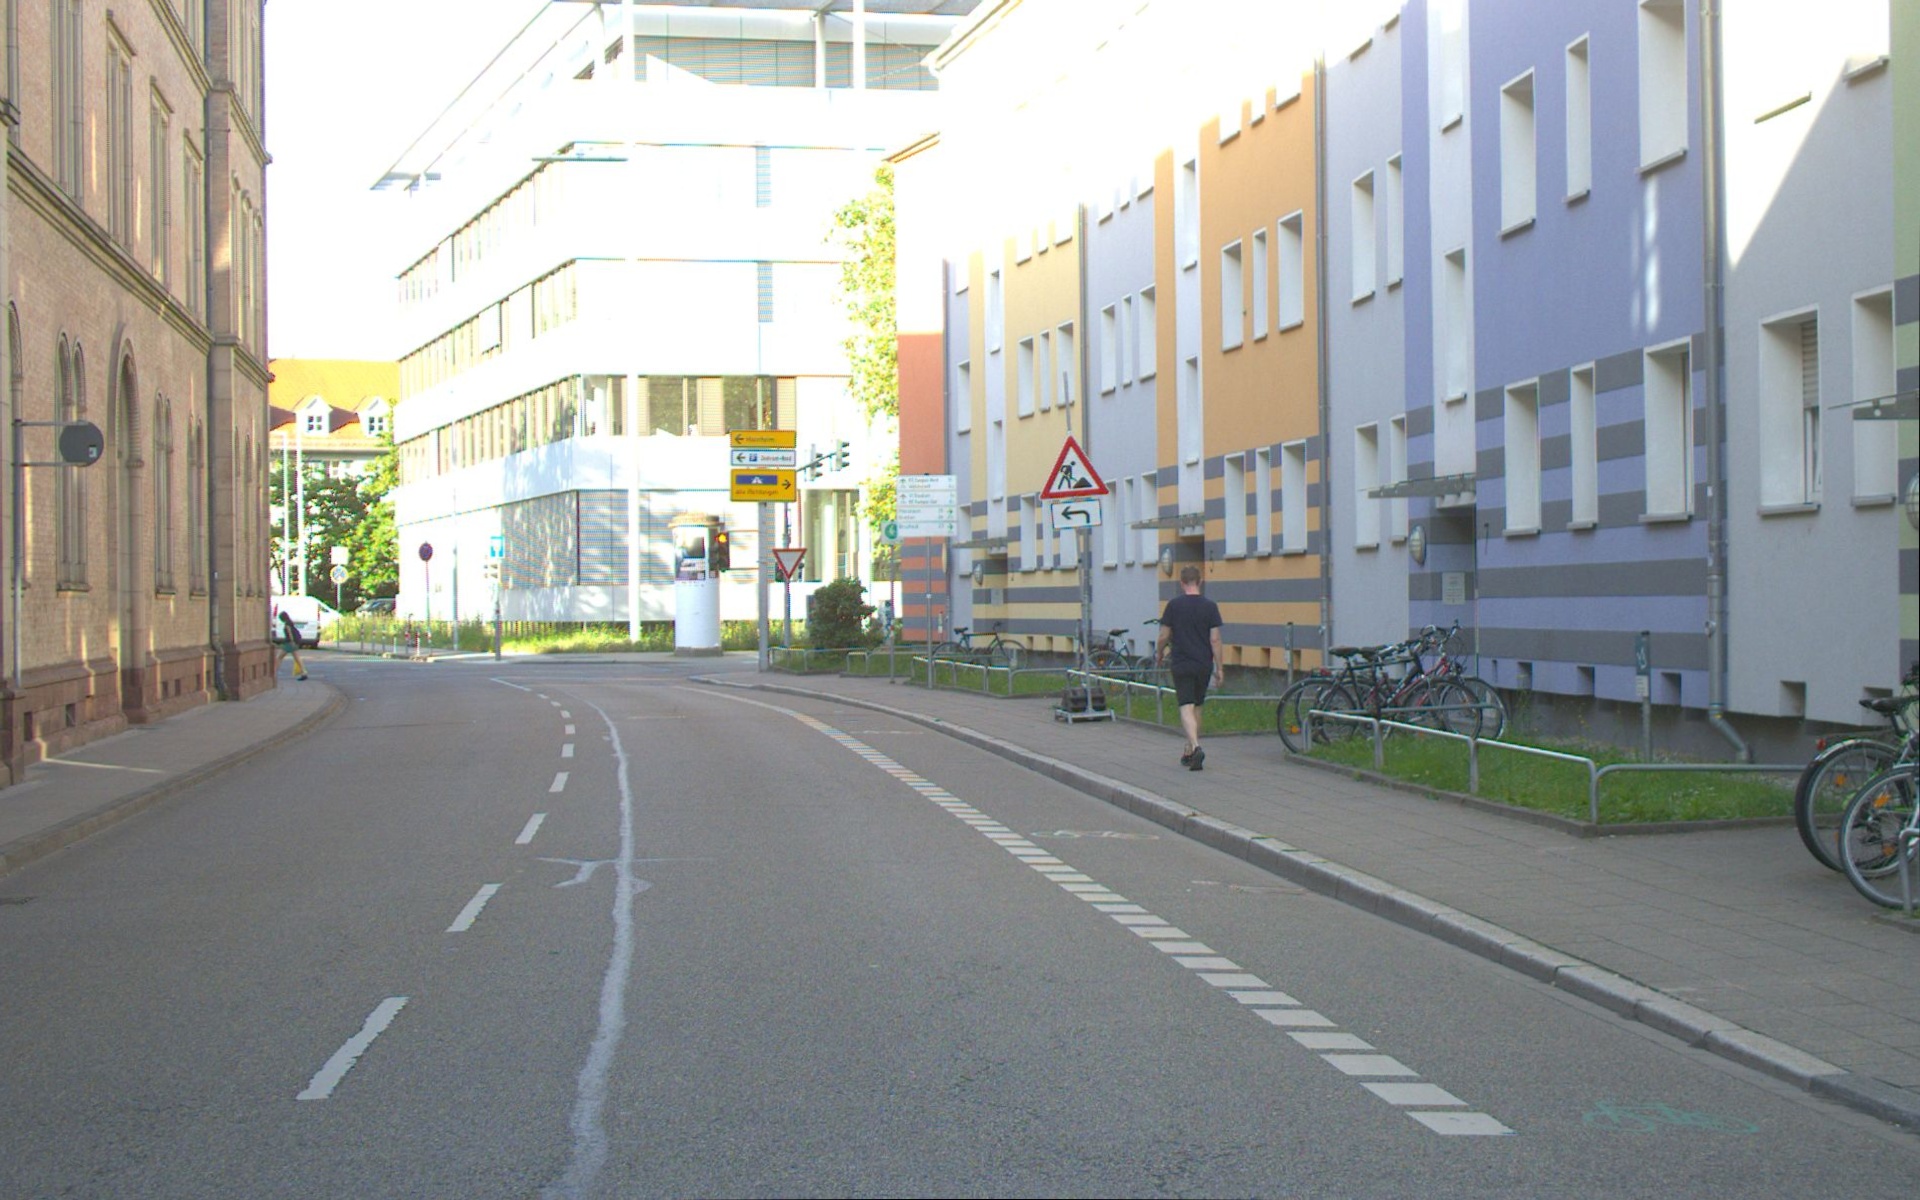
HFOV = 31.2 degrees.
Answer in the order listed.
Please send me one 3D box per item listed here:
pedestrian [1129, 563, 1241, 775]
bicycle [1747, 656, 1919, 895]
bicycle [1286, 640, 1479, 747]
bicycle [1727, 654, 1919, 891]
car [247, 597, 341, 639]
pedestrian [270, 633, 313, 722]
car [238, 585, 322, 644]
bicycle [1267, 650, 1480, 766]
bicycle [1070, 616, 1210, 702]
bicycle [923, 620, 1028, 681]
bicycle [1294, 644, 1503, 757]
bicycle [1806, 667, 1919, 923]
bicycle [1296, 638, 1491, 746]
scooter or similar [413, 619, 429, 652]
[{"bbox_3d":[1.939,0.583,29.744,0.696,1.754,1.189,-3,0,-5],"label":"pedestrian"},{"bbox_3d":[4.902,0.869,17.690,1.640,1.137,0.283,-4,1,-13],"label":"bicycle"},{"bbox_3d":[3.987,0.880,32.437,1.748,0.943,0.335,-2,-1,-5],"label":"bicycle"},{"bbox_3d":[4.834,0.872,17.958,1.602,1.137,0.237,-4,1,-13],"label":"bicycle"},{"bbox_3d":[-31.934,0.863,164.805,3.986,1.909,1.920,1,-1,-28],"label":"car"},{"bbox_3d":[-15.296,1.768,78.699,0.895,2.007,0.753,-1,-1,-13],"label":"pedestrian"},{"bbox_3d":[-25.227,0.548,127.445,2.423,2.105,5.232,1,-1,-18],"label":"car"},{"bbox_3d":[3.622,0.942,30.179,1.748,0.943,0.552,-2,-1,-5],"label":"bicycle"},{"bbox_3d":[2.441,0.800,46.760,1.810,1.134,0.552,-1,-1,-7],"label":"bicycle"},{"bbox_3d":[0.274,0.890,60.916,1.753,1.000,0.613,-2,0,-10],"label":"bicycle"},{"bbox_3d":[3.929,0.894,30.859,1.748,0.943,0.552,-2,-1,-5],"label":"bicycle"},{"bbox_3d":[4.990,0.870,16.310,1.748,1.137,0.552,-4,1,-5],"label":"bicycle"},{"bbox_3d":[4.034,0.850,32.004,1.748,0.943,0.326,-2,-1,-4],"label":"bicycle"},{"bbox_3d":[-17.109,1.128,109.172,0.325,1.056,1.143,-1,0,-17],"label":"scooter or similar"}]
